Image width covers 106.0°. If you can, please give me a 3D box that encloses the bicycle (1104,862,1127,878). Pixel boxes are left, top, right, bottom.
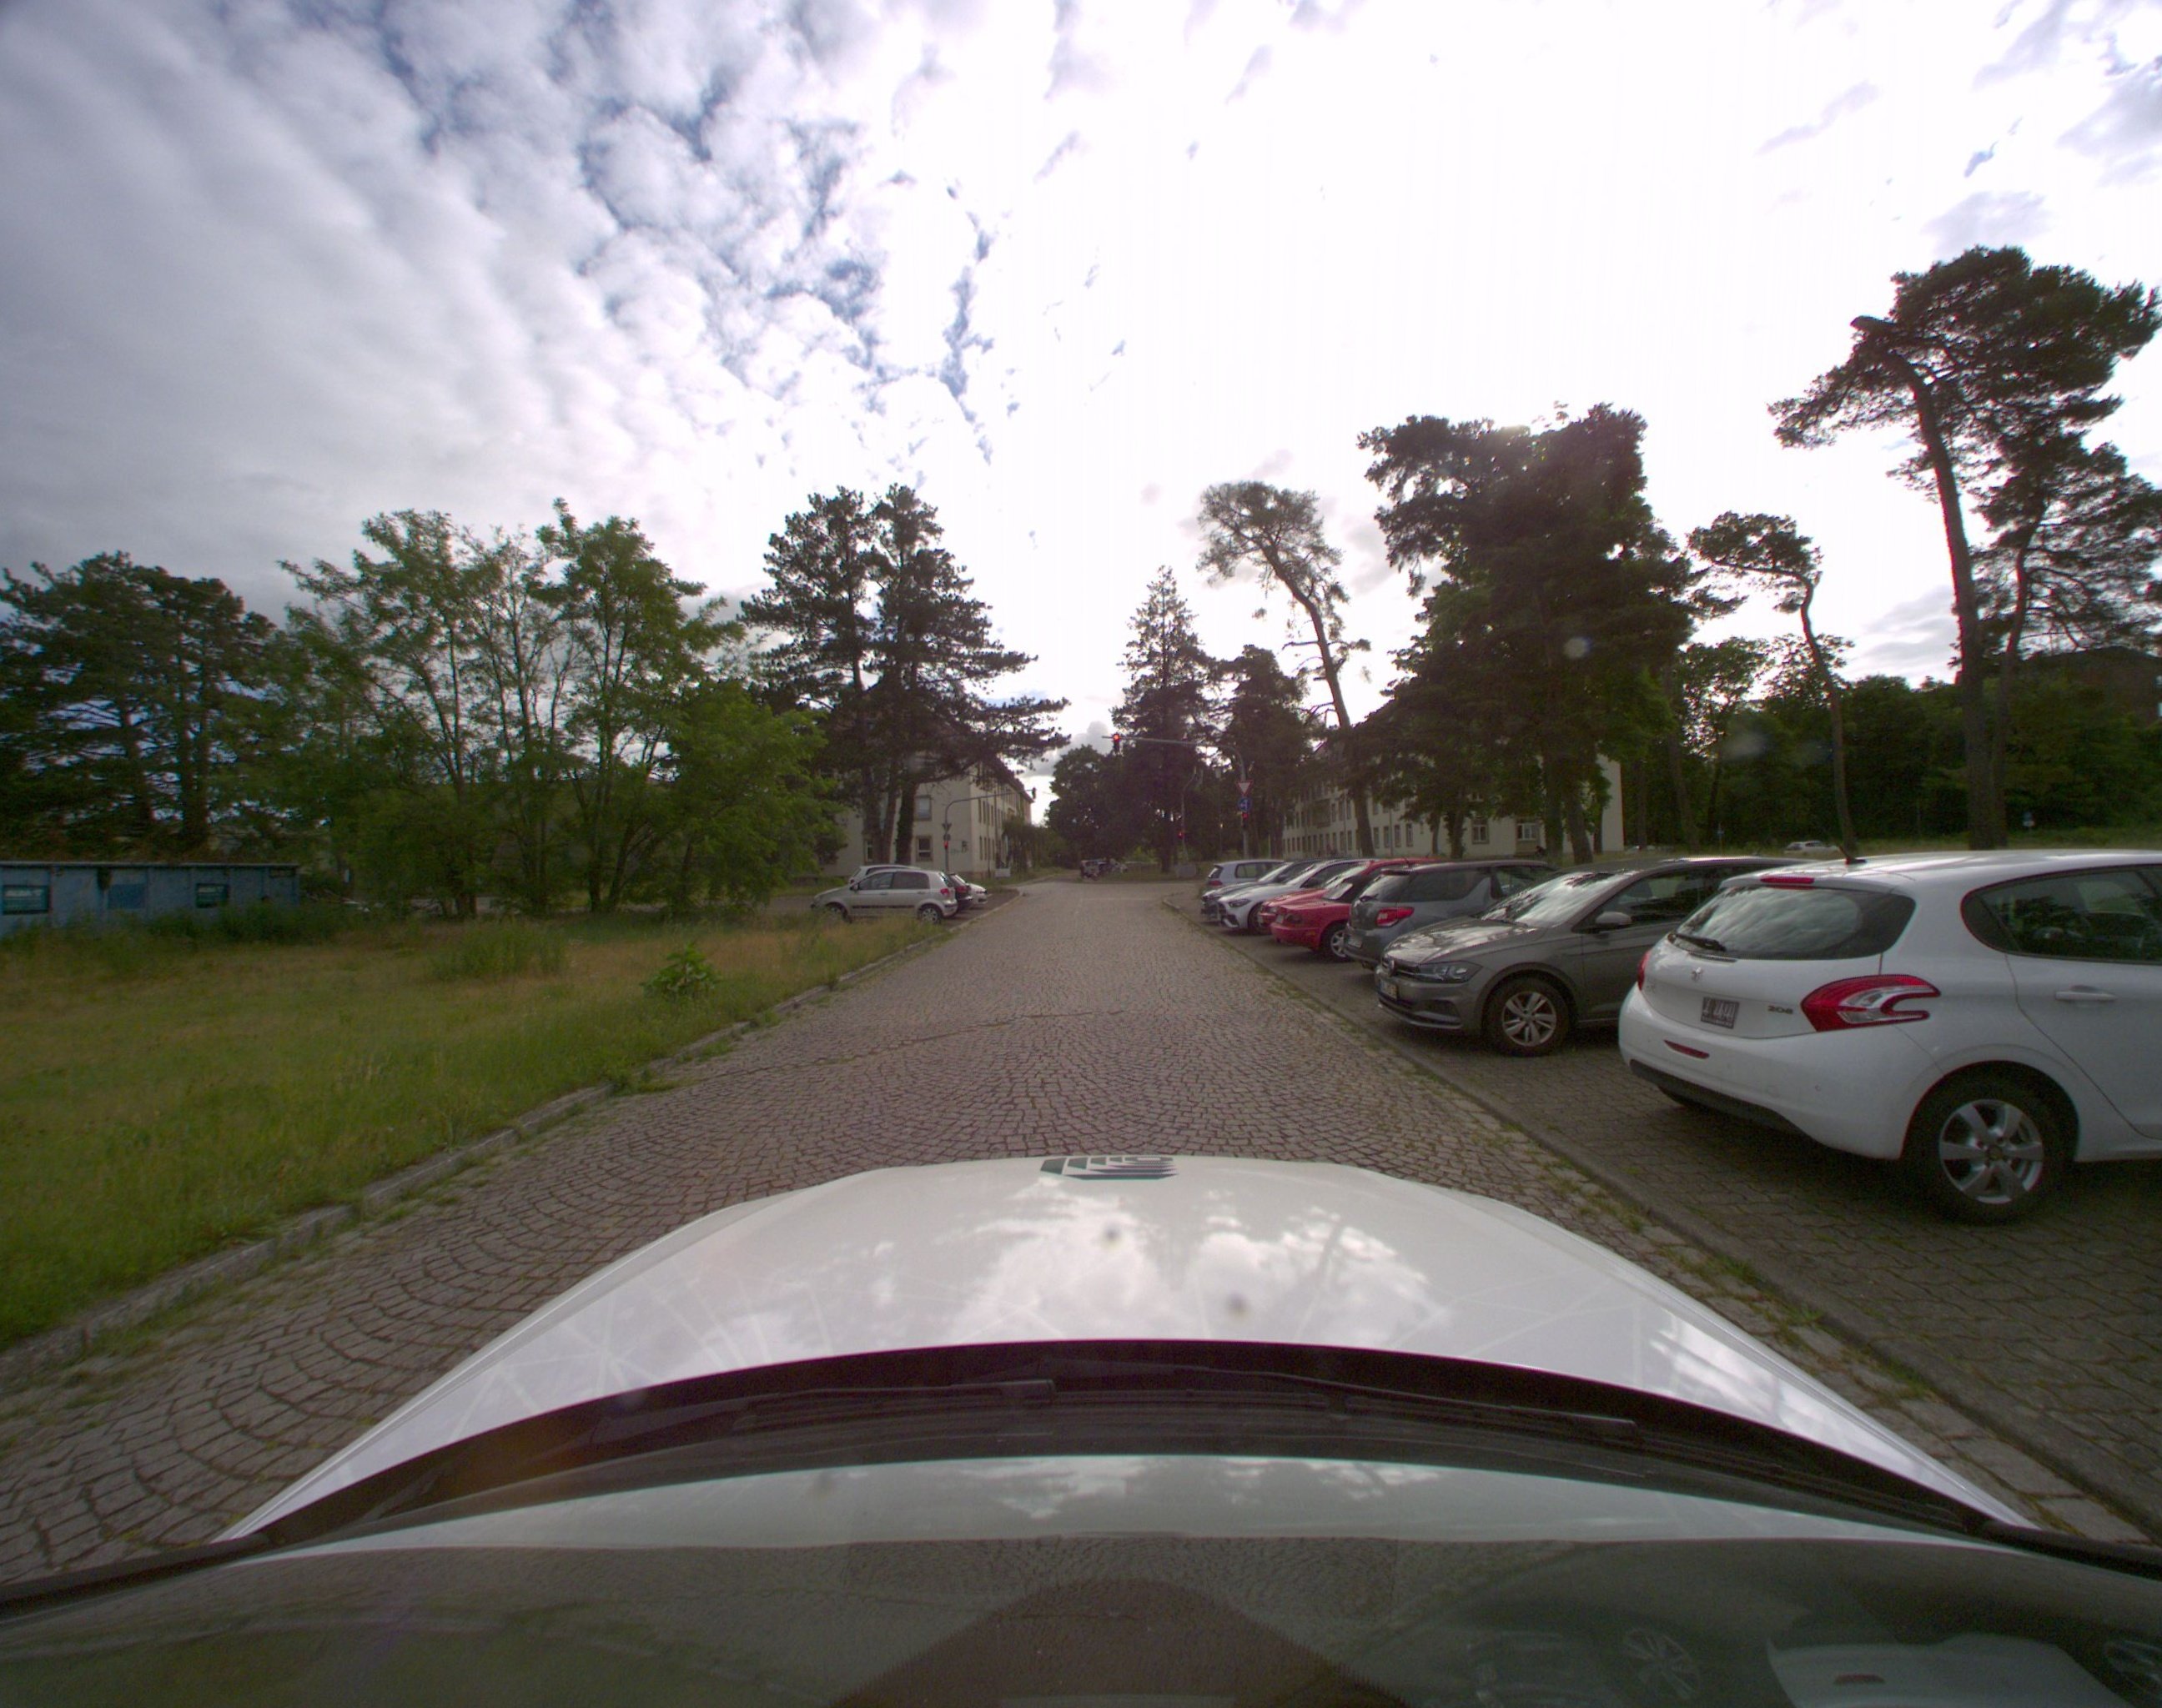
[{"bbox_3d":[3.123,1.420,72.786,1.953,1.384,0.587,-2,-1,-7],"label":"bicycle"}]

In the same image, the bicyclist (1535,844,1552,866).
[{"bbox_3d":[29.742,0.064,52.386,0.745,1.410,0.606,-2,-1,6],"label":"bicyclist"}]

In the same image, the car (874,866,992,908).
[{"bbox_3d":[-5.316,1.174,29.630,3.935,1.421,1.650,1,-1,0],"label":"car"}]

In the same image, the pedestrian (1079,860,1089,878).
[{"bbox_3d":[0.259,1.385,76.060,0.740,1.618,0.772,-2,-1,-16],"label":"pedestrian"}]

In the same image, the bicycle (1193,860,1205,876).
[{"bbox_3d":[8.596,1.013,59.188,0.584,1.106,1.961,-2,-1,1],"label":"bicycle"}]

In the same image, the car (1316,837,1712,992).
[{"bbox_3d":[5.089,0.676,9.952,3.851,1.472,1.757,-4,-1,-1],"label":"car"}]

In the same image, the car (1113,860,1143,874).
[{"bbox_3d":[5.329,1.489,93.278,3.224,1.416,1.724,-2,-1,-2],"label":"car"}]

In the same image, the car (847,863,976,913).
[{"bbox_3d":[-5.558,1.112,27.089,3.938,1.563,1.649,1,-1,-3],"label":"car"}]

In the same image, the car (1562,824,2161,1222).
[{"bbox_3d":[4.948,0.654,4.177,3.848,1.472,1.759,-4,-1,1],"label":"car"}]

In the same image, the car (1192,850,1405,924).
[{"bbox_3d":[5.224,0.777,20.017,4.668,1.416,1.870,-4,-1,-2],"label":"car"}]

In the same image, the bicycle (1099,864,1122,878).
[{"bbox_3d":[2.572,1.508,71.956,1.953,1.117,0.587,-2,-1,-7],"label":"bicycle"}]

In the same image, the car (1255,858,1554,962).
[{"bbox_3d":[4.822,0.808,12.515,3.851,1.236,1.757,-4,-1,-1],"label":"car"}]

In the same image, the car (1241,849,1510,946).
[{"bbox_3d":[5.298,0.759,15.062,4.248,1.416,1.871,-4,-1,0],"label":"car"}]

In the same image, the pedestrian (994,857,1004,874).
[{"bbox_3d":[-8.775,1.237,87.123,0.779,1.837,0.733,-1,-1,-31],"label":"pedestrian"}]

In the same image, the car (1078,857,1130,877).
[{"bbox_3d":[2.539,1.419,89.411,5.358,1.925,2.019,-3,-1,-9],"label":"car"}]

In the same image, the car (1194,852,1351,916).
[{"bbox_3d":[5.189,0.802,22.469,3.912,1.477,1.643,-4,-1,2],"label":"car"}]

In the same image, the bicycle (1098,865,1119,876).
[{"bbox_3d":[2.645,1.594,78.475,1.964,1.069,0.583,-2,-1,-24],"label":"bicycle"}]

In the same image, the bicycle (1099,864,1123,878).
[{"bbox_3d":[2.625,1.475,71.323,1.953,1.132,0.587,-2,-1,-7],"label":"bicycle"}]

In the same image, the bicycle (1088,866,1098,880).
[{"bbox_3d":[0.973,1.591,68.133,0.602,1.132,1.958,-2,-1,-5],"label":"bicycle"}]

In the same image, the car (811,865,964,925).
[{"bbox_3d":[-5.073,1.065,21.710,3.693,1.480,1.581,1,-1,-3],"label":"car"}]

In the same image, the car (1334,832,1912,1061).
[{"bbox_3d":[4.443,0.699,7.082,3.854,1.472,1.756,-4,-1,-4],"label":"car"}]

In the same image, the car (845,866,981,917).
[{"bbox_3d":[-4.932,1.105,24.306,3.736,1.429,1.581,1,-1,-3],"label":"car"}]

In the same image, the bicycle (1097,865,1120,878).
[{"bbox_3d":[2.491,1.551,73.439,1.967,1.069,0.582,-2,-1,-29],"label":"bicycle"}]

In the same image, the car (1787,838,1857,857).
[{"bbox_3d":[58.776,-0.489,64.639,3.931,1.421,1.651,1,-1,3],"label":"car"}]

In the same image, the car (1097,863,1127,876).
[{"bbox_3d":[3.274,1.632,86.030,3.001,1.268,1.532,-2,-1,-5],"label":"car"}]

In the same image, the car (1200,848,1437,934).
[{"bbox_3d":[4.963,0.744,17.332,4.420,1.416,1.865,-4,-1,-9],"label":"car"}]
